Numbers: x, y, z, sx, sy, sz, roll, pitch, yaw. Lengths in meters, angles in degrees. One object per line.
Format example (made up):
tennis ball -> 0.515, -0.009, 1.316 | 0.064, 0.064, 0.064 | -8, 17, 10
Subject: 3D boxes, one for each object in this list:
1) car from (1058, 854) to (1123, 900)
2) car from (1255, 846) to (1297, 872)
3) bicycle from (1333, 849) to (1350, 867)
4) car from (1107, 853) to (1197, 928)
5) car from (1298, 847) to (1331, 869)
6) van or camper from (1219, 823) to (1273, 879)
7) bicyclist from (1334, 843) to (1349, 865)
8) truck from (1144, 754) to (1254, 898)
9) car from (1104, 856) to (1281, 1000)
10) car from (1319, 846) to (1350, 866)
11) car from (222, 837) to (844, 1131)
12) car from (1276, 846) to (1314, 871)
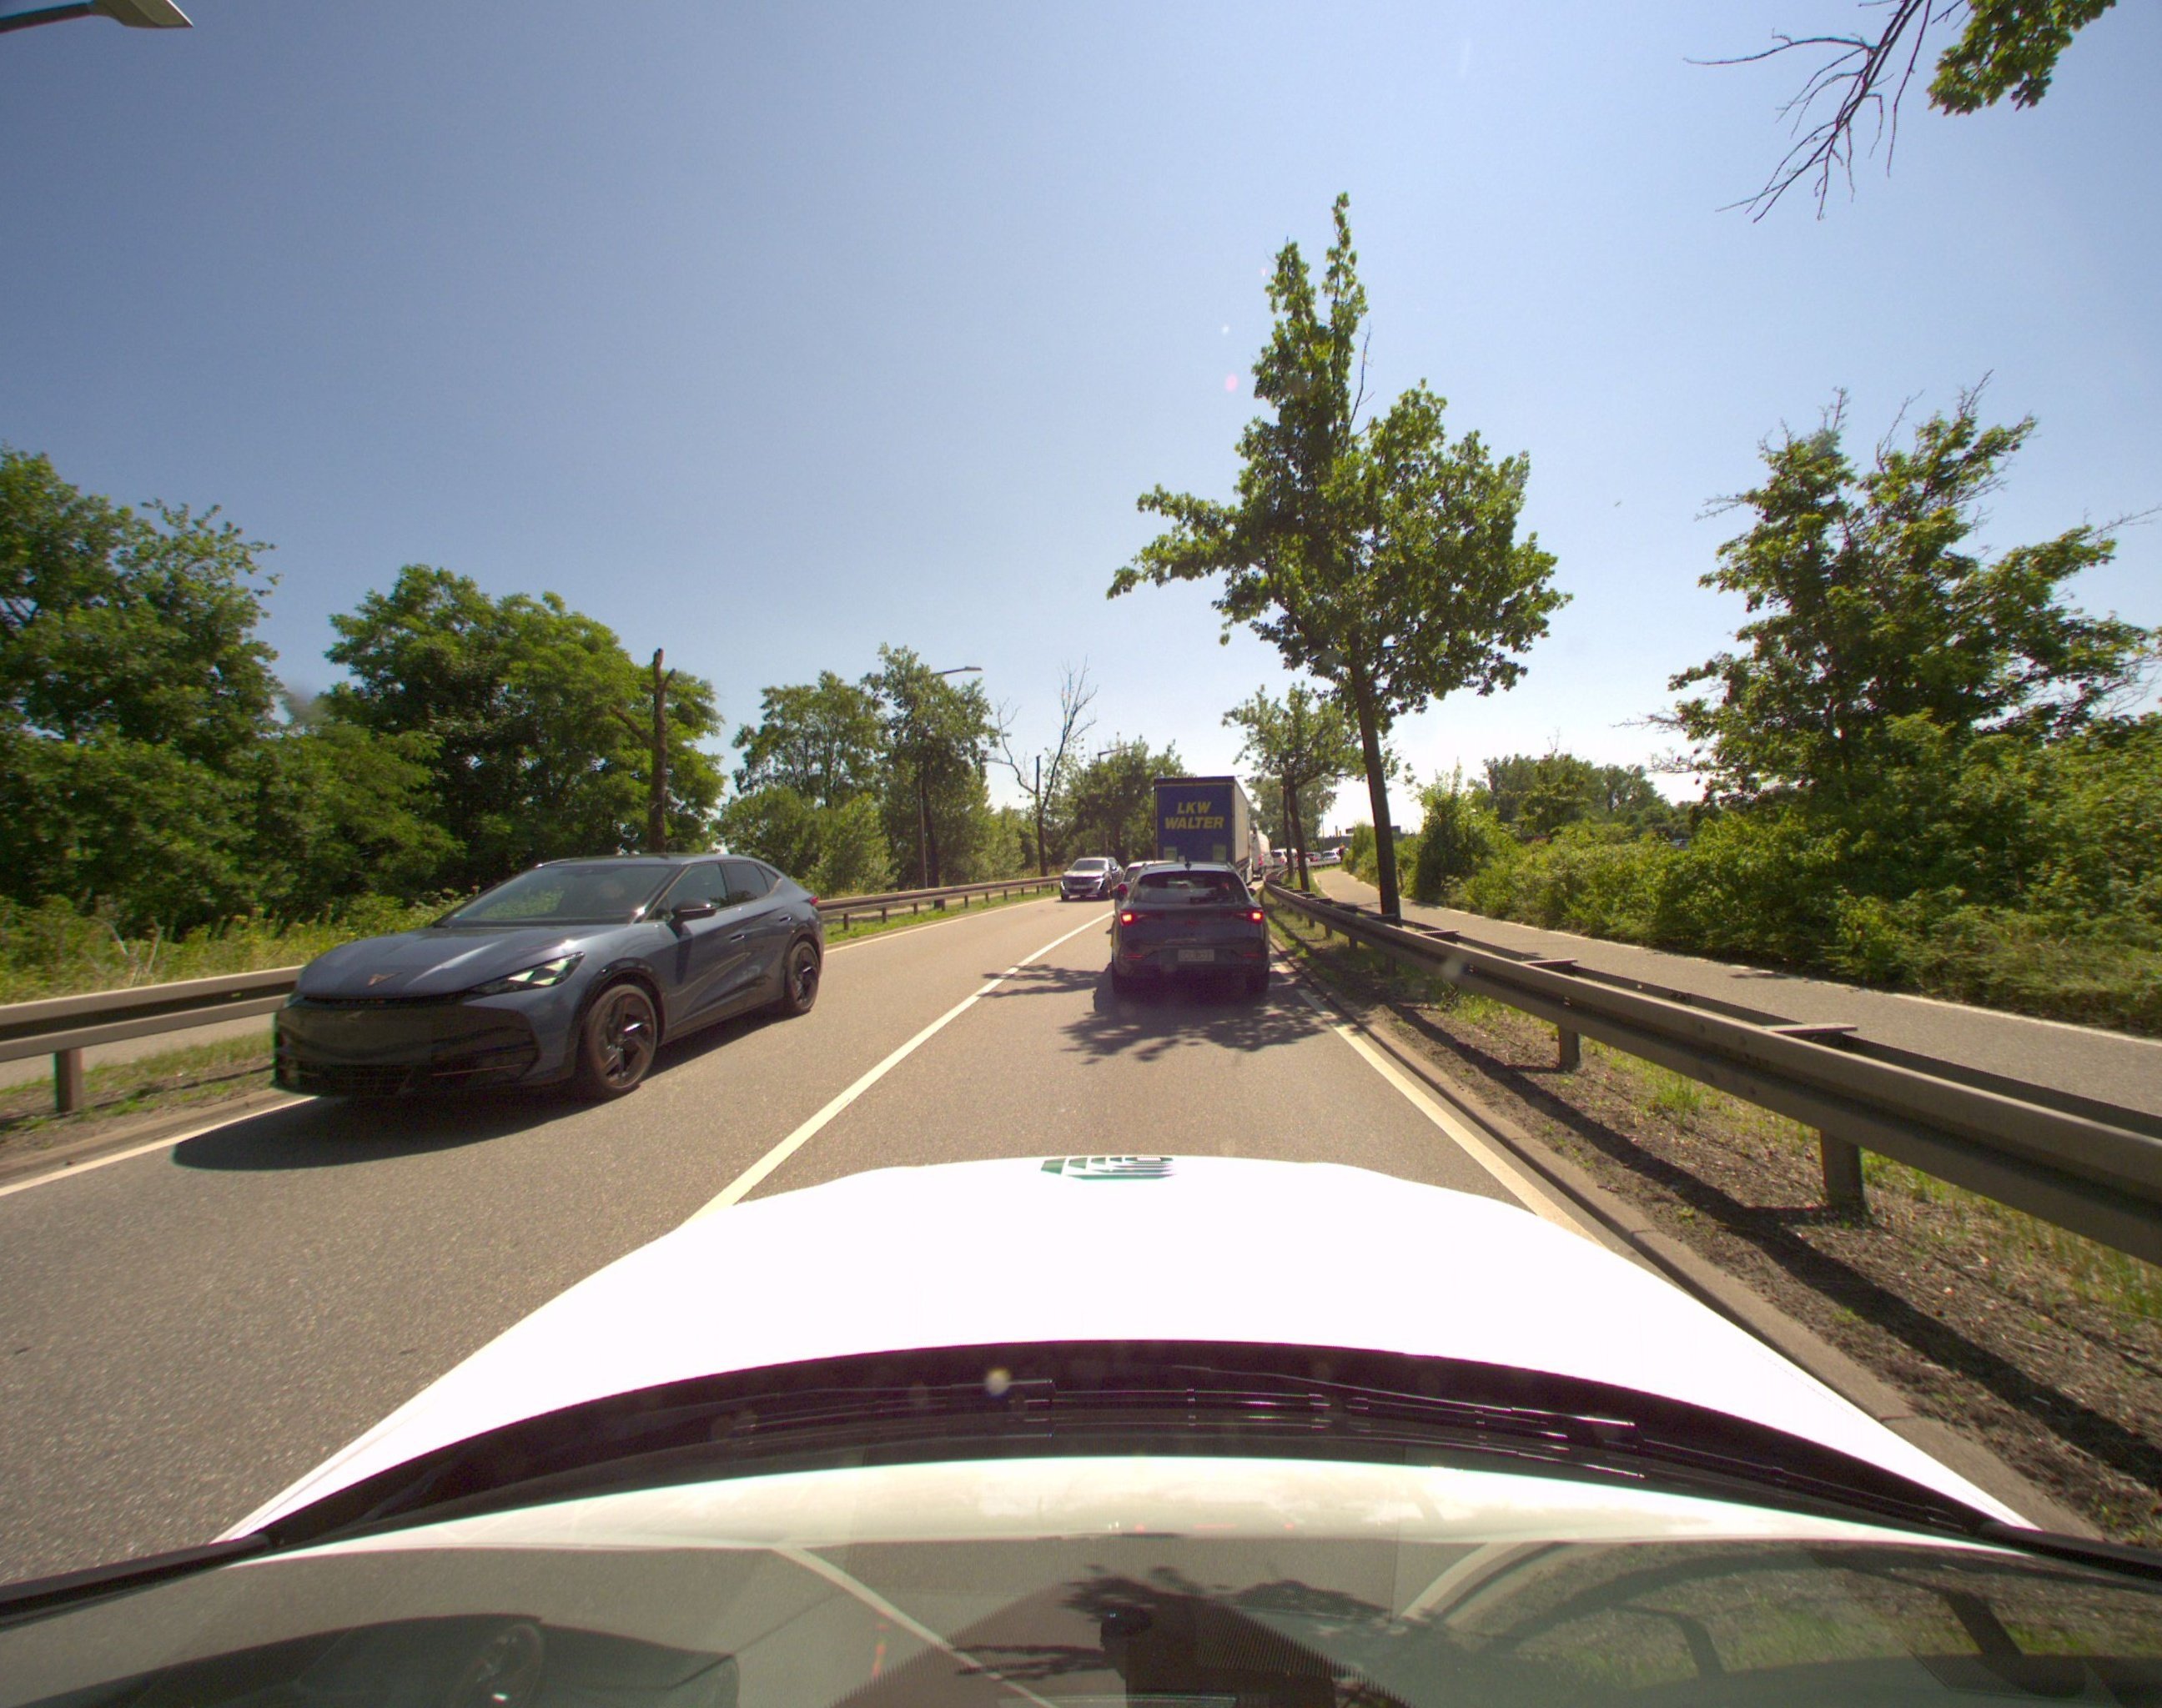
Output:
car -> 0.418, 0.803, 30.190 | 1.739, 1.555, 4.138 | -1, 0, 10
car -> 13.301, 0.330, 55.362 | 1.976, 1.712, 4.645 | -1, 0, 23
bicycle -> 17.836, 0.283, 55.782 | 0.853, 1.237, 2.322 | -1, 0, 23
car -> 1.693, 0.756, 18.567 | 1.800, 1.508, 4.008 | -1, 0, 7
car -> 19.635, 0.313, 68.320 | 1.975, 1.717, 4.896 | -1, 0, 25
van or camper -> 9.687, -0.137, 47.501 | 2.447, 2.998, 6.113 | -1, 0, 17
bicyclist -> 17.809, -0.004, 55.739 | 0.852, 1.523, 0.986 | -1, -1, 25
truck -> 5.412, -0.816, 33.753 | 2.929, 4.449, 16.858 | -1, 0, 13
car -> 1.274, 0.756, 10.094 | 1.736, 1.432, 3.885 | -1, 0, 5
car -> 23.140, 0.179, 74.264 | 1.975, 1.768, 4.783 | -1, 0, 26
car -> -3.714, 0.736, 6.716 | 1.860, 1.603, 4.399 | -1, 0, 5
car -> 16.222, 0.362, 61.617 | 1.975, 1.808, 4.873 | -1, 0, 25
